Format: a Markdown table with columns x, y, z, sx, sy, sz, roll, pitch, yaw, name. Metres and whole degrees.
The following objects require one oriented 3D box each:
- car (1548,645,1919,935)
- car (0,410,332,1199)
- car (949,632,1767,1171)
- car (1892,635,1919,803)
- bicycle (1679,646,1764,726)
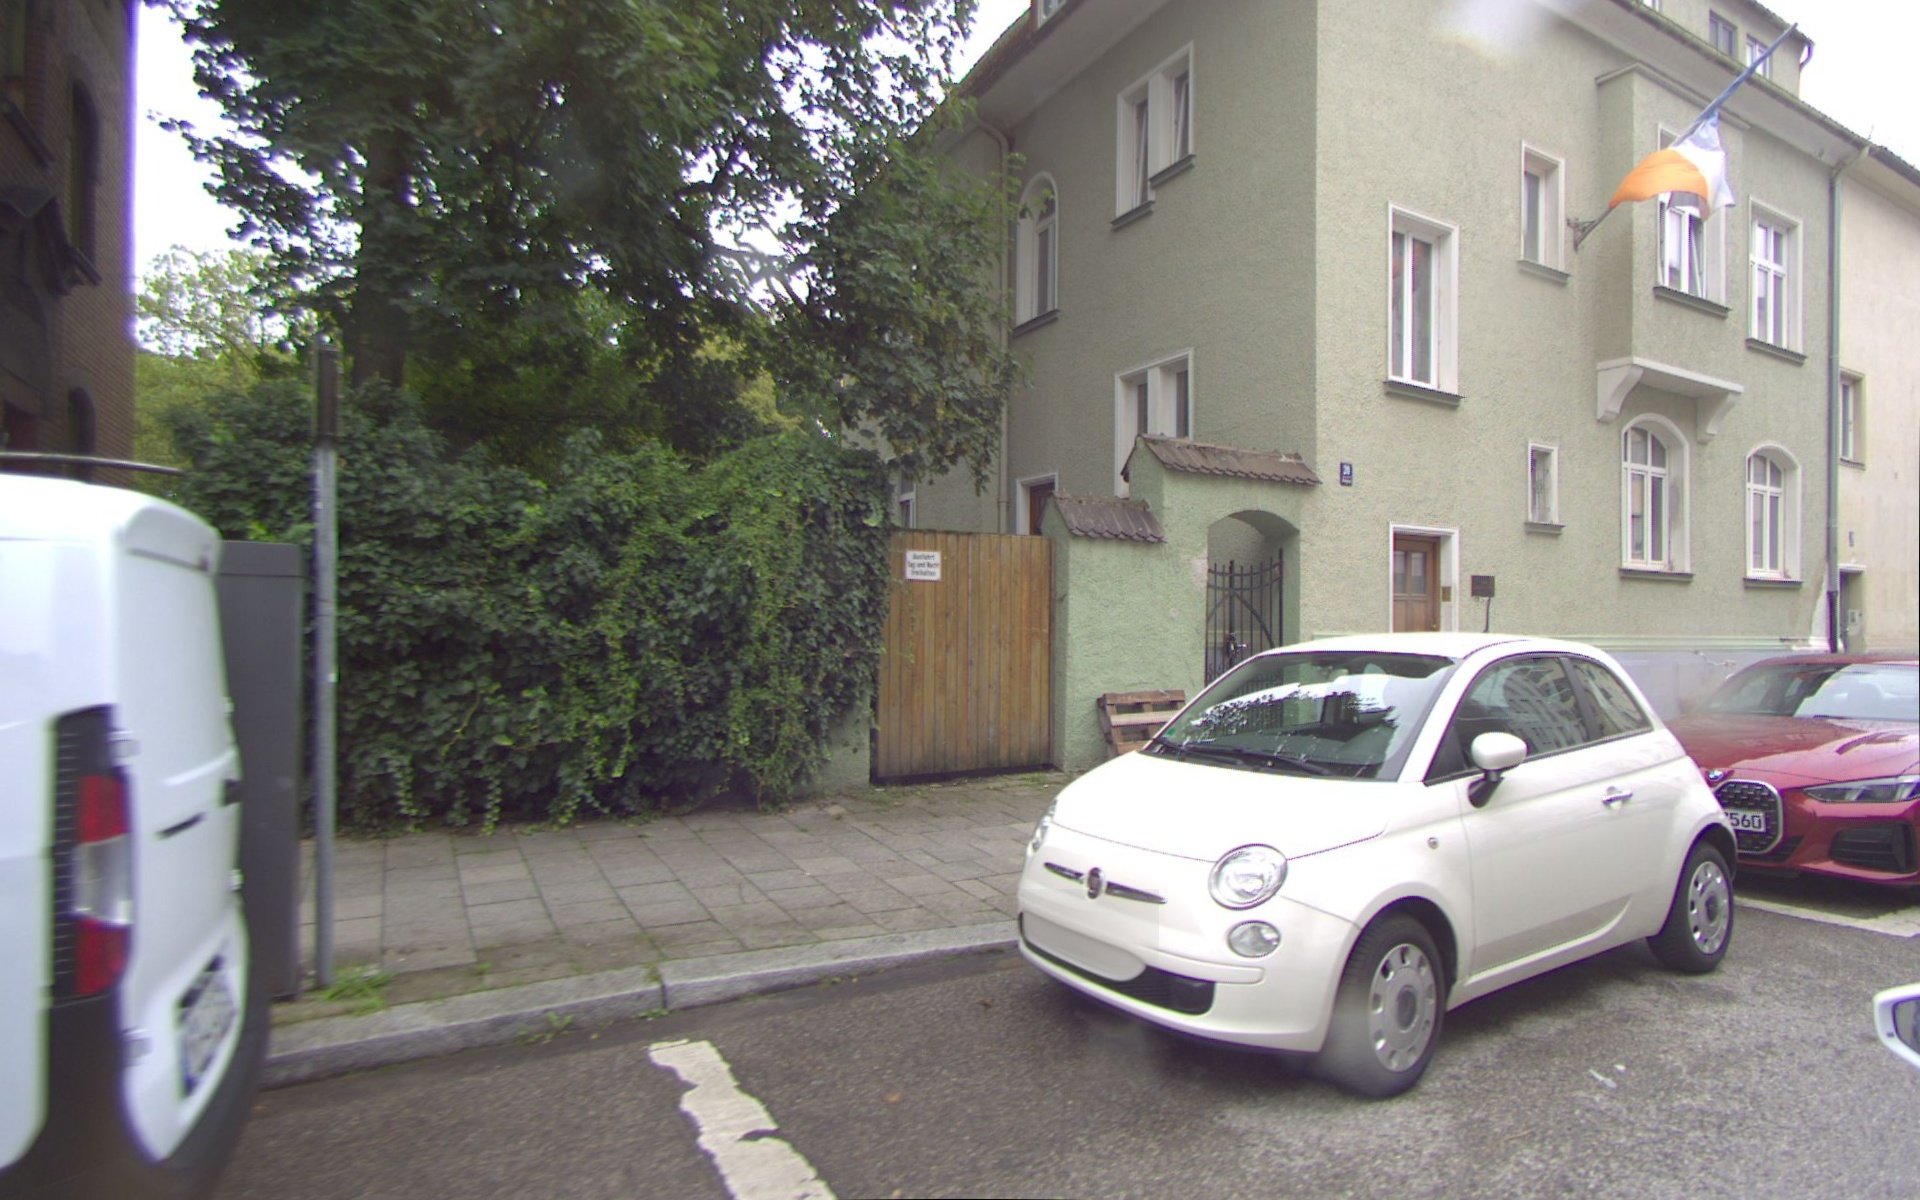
| x | y | z | sx | sy | sz | roll | pitch | yaw | name |
| --- | --- | --- | --- | --- | --- | --- | --- | --- | --- |
| 6.164 | 1.044 | 6.973 | 4.352 | 1.386 | 1.737 | 1 | -2 | -31 | car |
| -3.385 | 0.603 | 1.394 | 4.202 | 1.779 | 1.706 | 1 | -2 | -31 | car |
| 1.847 | 0.895 | 4.432 | 3.482 | 1.487 | 1.618 | 1 | -2 | -32 | car |
| 10.936 | 1.100 | 9.783 | 4.060 | 1.550 | 1.671 | 1 | -2 | -31 | car |
| 11.235 | 1.244 | 14.808 | 1.506 | 1.099 | 0.458 | 2 | 0 | -32 | bicycle |
